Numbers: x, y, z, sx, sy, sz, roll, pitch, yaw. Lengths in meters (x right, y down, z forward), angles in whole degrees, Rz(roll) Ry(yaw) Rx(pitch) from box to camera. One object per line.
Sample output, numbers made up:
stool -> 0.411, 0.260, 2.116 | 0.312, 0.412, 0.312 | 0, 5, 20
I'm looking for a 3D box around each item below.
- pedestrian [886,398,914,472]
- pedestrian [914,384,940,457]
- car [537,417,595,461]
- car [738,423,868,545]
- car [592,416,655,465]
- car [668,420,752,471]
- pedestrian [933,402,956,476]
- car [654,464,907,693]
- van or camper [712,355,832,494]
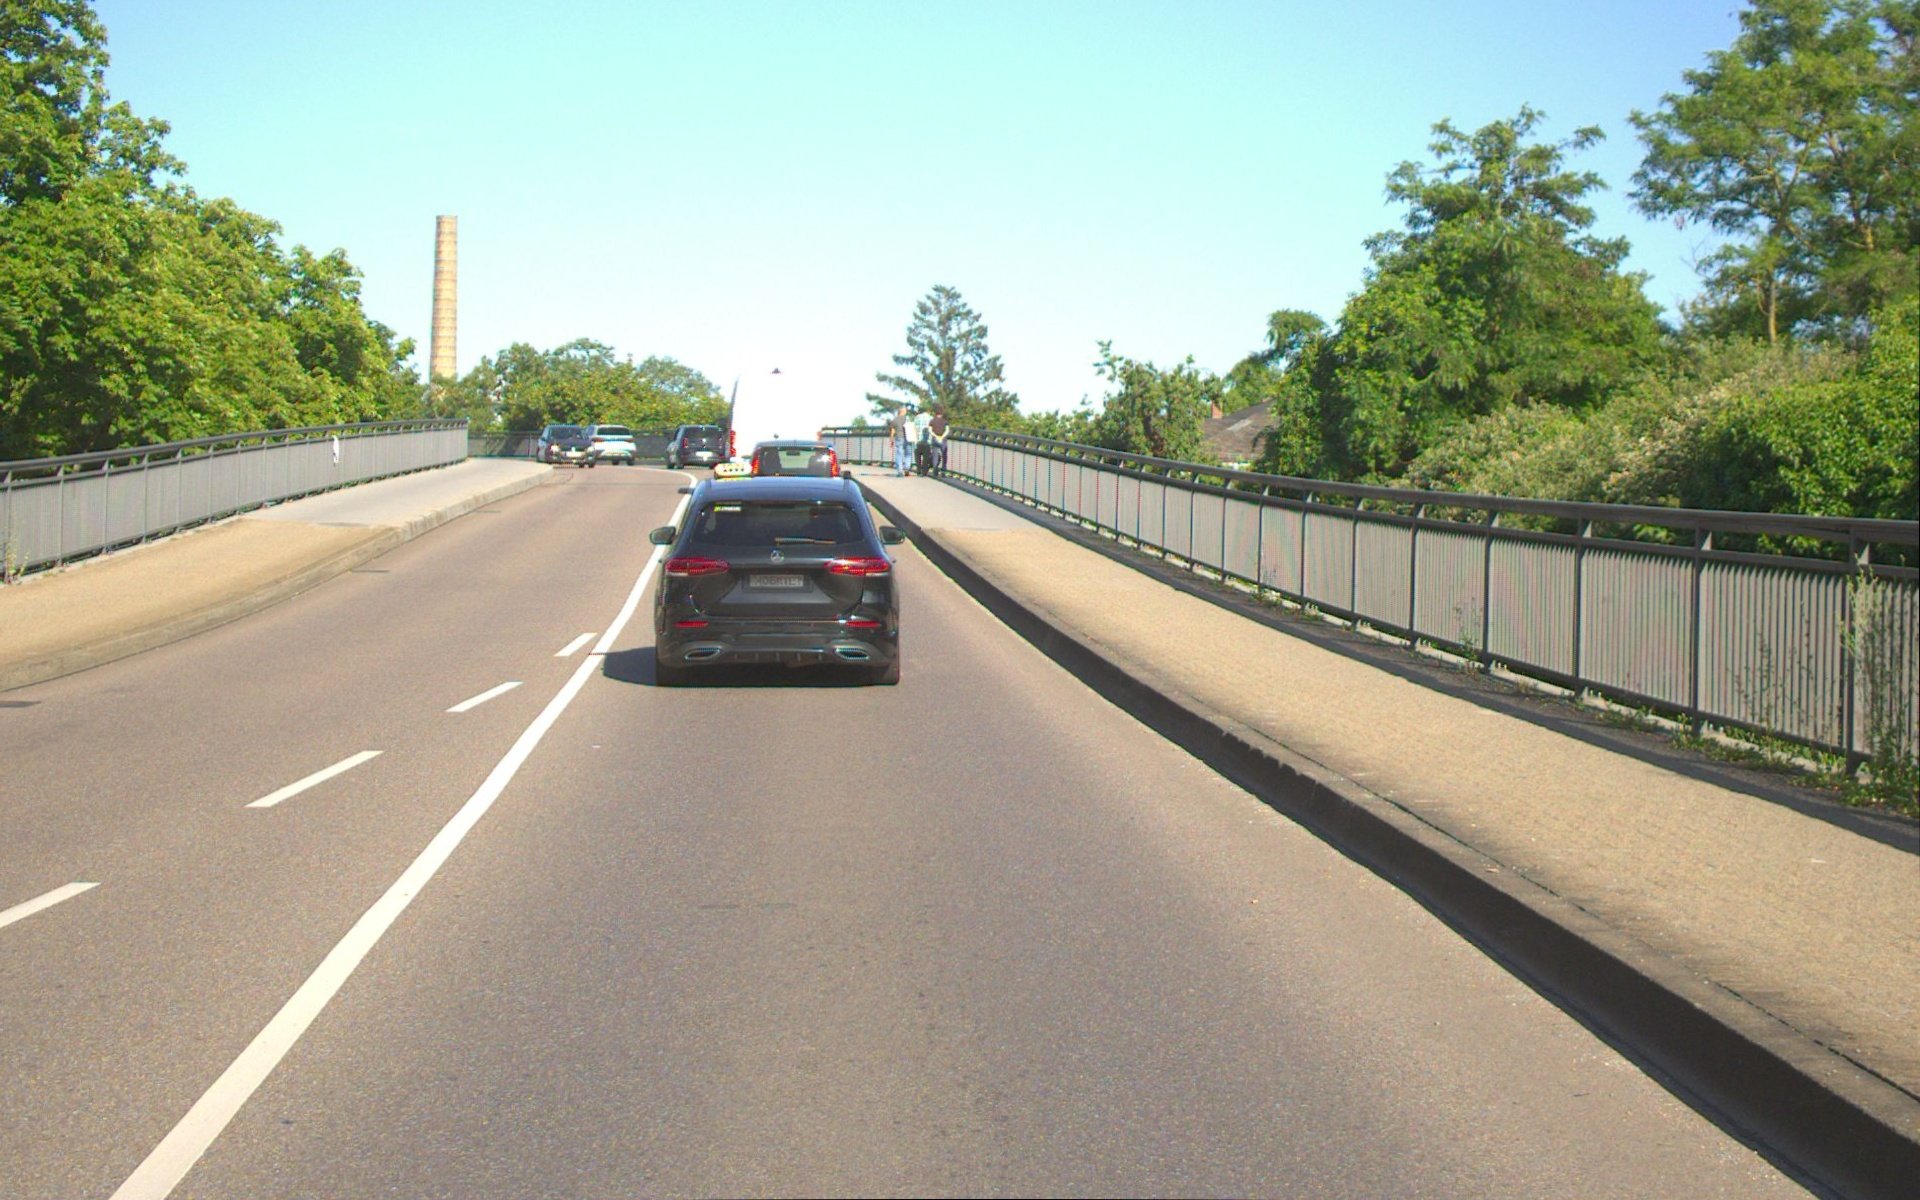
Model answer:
pedestrian -> -1.462, -3.984, 83.073 | 0.602, 1.744, 0.717 | 2, 1, -3
pedestrian -> -0.801, -4.360, 83.698 | 0.549, 1.744, 0.739 | 2, 1, -3
car -> -13.470, -5.540, 117.736 | 1.769, 1.469, 3.990 | -1, 3, -4
car -> -2.351, -1.729, 52.299 | 1.804, 1.634, 4.000 | 2, 0, -1
car -> -12.915, -6.123, 132.060 | 1.993, 1.674, 4.000 | 0, 0, 0
car -> -8.315, -5.142, 114.657 | 1.919, 1.483, 4.268 | 0, 0, 9
pedestrian -> -0.384, -3.873, 82.787 | 0.471, 1.744, 0.654 | 2, 1, -3
car -> -1.365, -0.229, 26.196 | 1.769, 1.587, 3.990 | 0, 2, -3
van or camper -> -4.144, -3.741, 74.837 | 2.226, 2.730, 7.082 | 2, 1, -6
